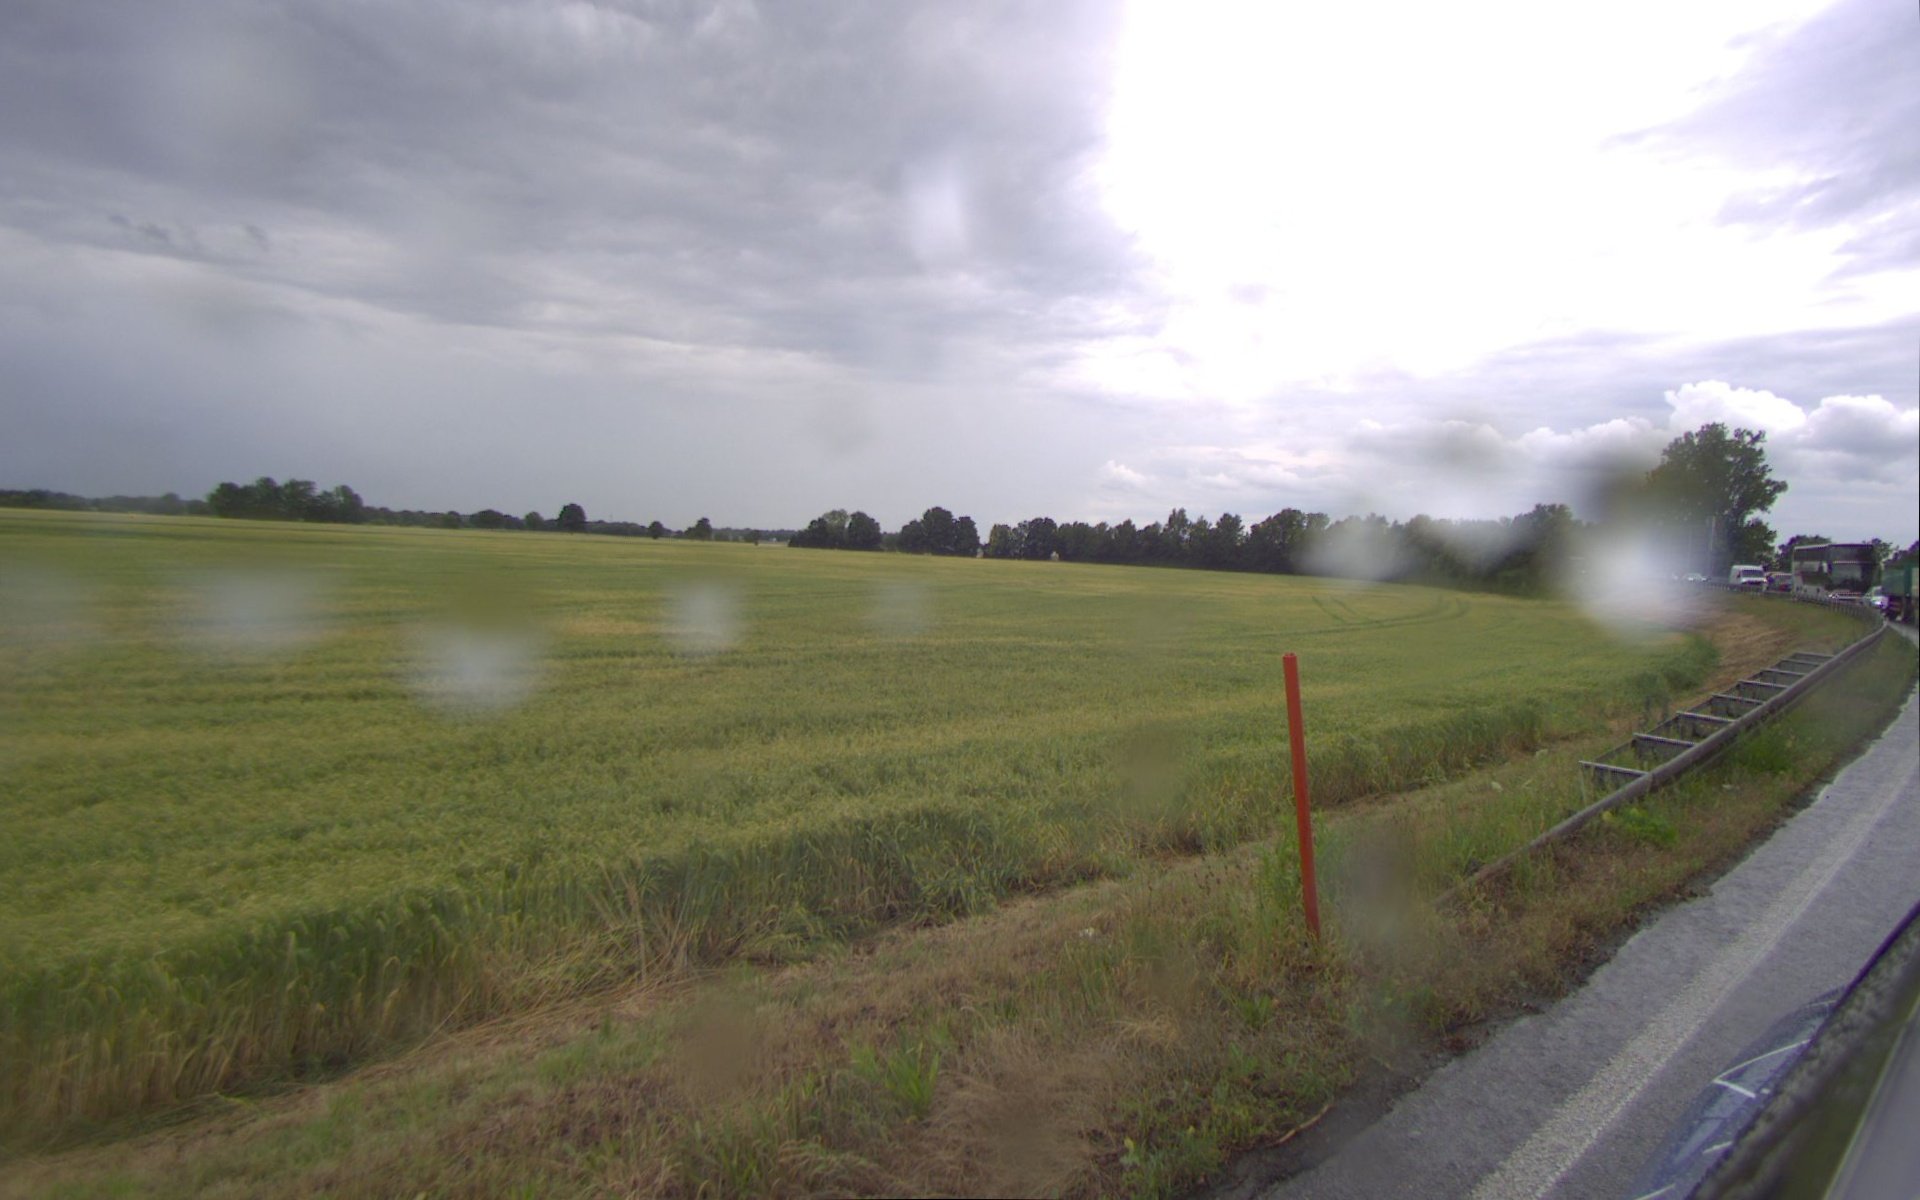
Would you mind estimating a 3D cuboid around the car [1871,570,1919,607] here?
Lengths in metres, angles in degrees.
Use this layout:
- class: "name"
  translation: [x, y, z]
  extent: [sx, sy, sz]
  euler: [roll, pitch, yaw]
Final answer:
- class: "car"
  translation: [49.210, -0.625, 52.658]
  extent: [2.030, 1.865, 5.269]
  euler: [0, 2, 35]

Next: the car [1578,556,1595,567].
- class: "car"
  translation: [119.031, -7.298, 192.275]
  extent: [1.759, 1.953, 4.155]
  euler: [0, 1, 18]

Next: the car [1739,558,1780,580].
- class: "car"
  translation: [77.801, -2.985, 98.570]
  extent: [1.979, 2.039, 5.291]
  euler: [0, 1, 25]

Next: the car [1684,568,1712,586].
- class: "car"
  translation: [89.283, -2.786, 122.465]
  extent: [1.979, 2.039, 4.197]
  euler: [0, 1, 25]

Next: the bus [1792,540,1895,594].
- class: "bus"
  translation: [60.211, -2.323, 69.368]
  extent: [2.943, 3.353, 14.674]
  euler: [0, 2, 32]

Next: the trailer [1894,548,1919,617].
- class: "trailer"
  translation: [39.410, -0.712, 39.696]
  extent: [2.971, 2.665, 15.464]
  euler: [0, 2, 39]

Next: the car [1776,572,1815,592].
- class: "car"
  translation: [68.683, -1.507, 83.232]
  extent: [1.800, 1.597, 3.958]
  euler: [0, 1, 30]

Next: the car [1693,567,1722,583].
- class: "car"
  translation: [98.896, -3.300, 133.942]
  extent: [1.975, 2.039, 4.178]
  euler: [0, 1, 19]
